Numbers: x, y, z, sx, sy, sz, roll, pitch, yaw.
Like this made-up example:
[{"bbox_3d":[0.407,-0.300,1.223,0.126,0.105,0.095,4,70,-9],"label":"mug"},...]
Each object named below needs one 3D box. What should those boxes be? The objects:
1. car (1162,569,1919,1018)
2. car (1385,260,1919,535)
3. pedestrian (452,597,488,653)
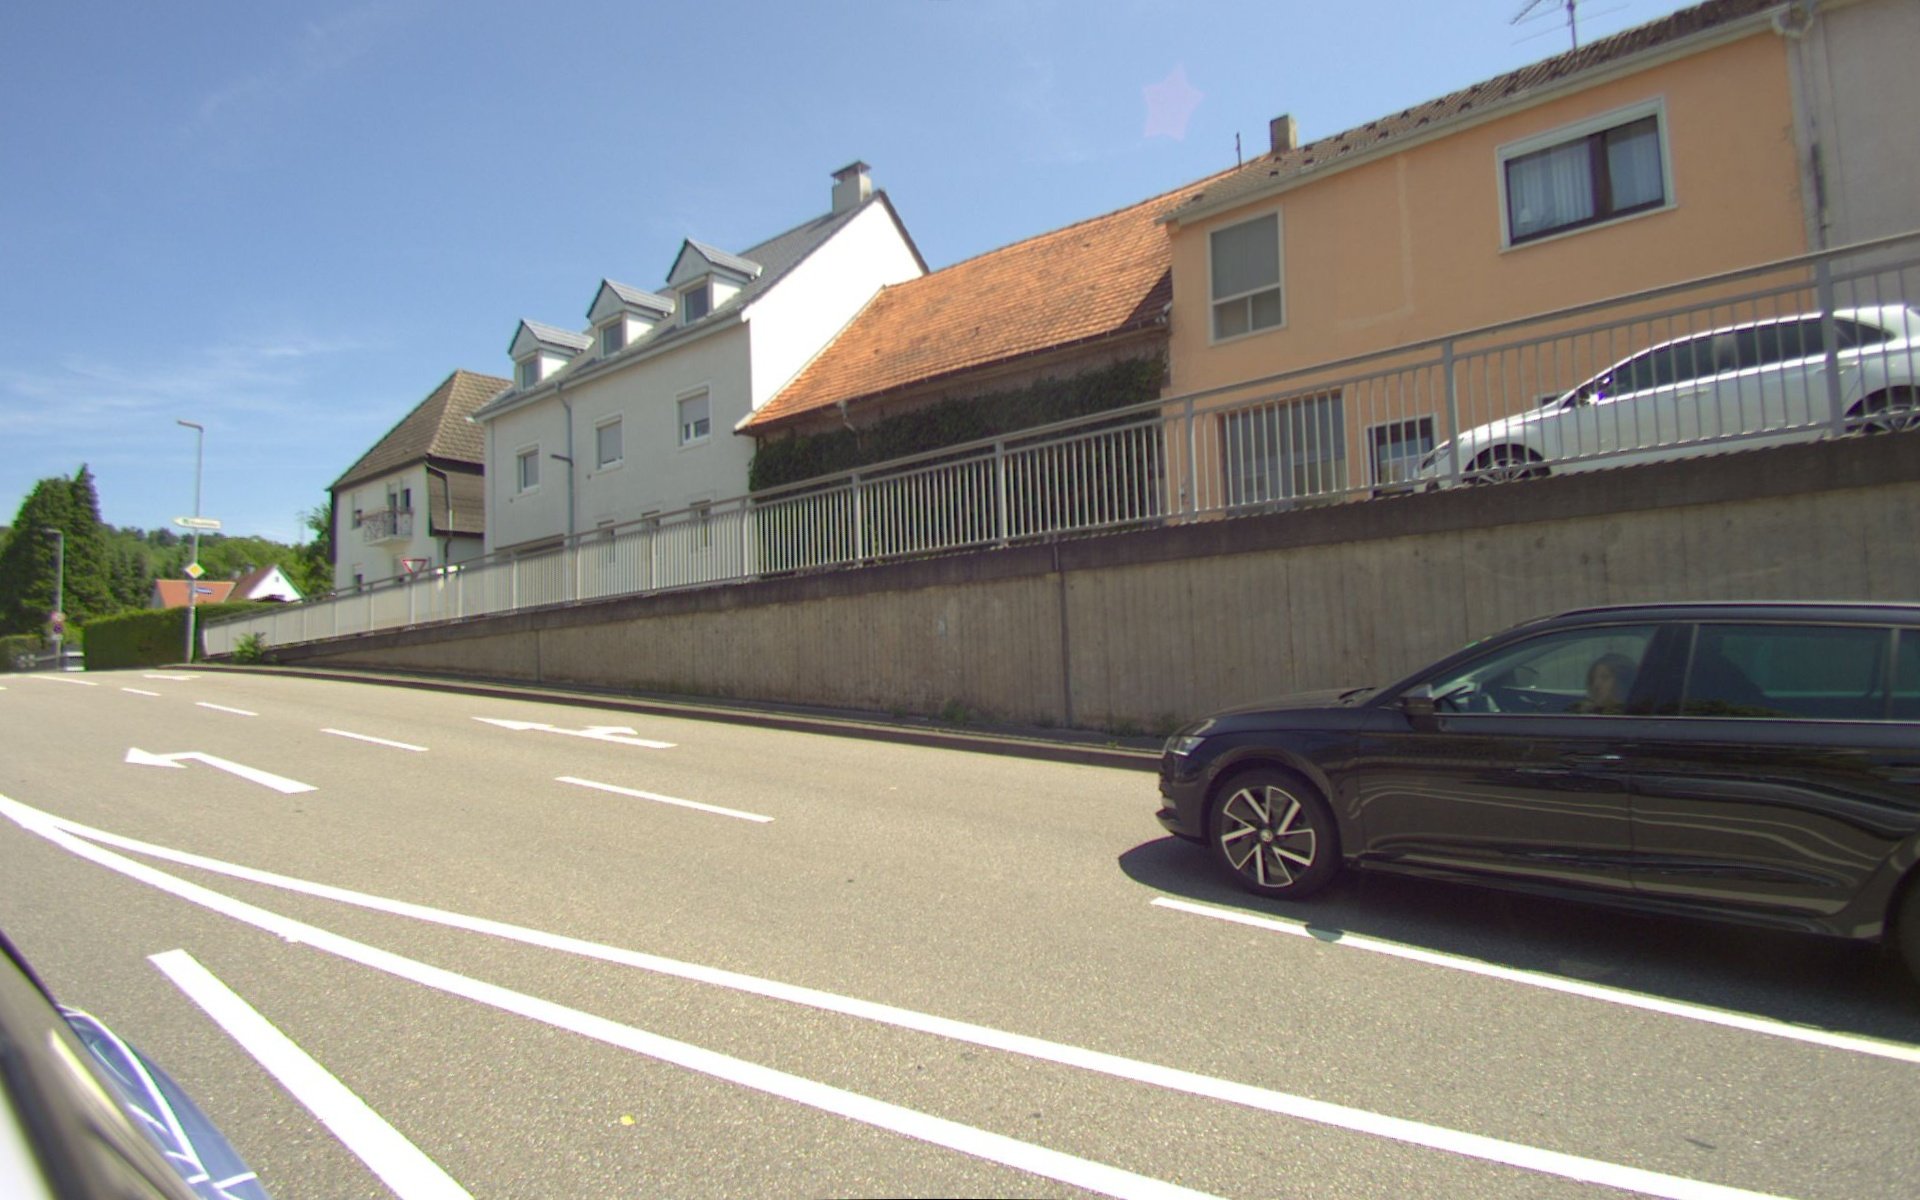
[{"bbox_3d":[3.268,0.662,4.496,4.366,1.500,1.742,-1,-1,41],"label":"car"},{"bbox_3d":[6.282,-1.601,8.909,4.302,1.473,1.796,-5,-3,37],"label":"car"},{"bbox_3d":[-15.614,0.805,32.251,0.855,1.742,0.720,-2,-2,37],"label":"pedestrian"}]
